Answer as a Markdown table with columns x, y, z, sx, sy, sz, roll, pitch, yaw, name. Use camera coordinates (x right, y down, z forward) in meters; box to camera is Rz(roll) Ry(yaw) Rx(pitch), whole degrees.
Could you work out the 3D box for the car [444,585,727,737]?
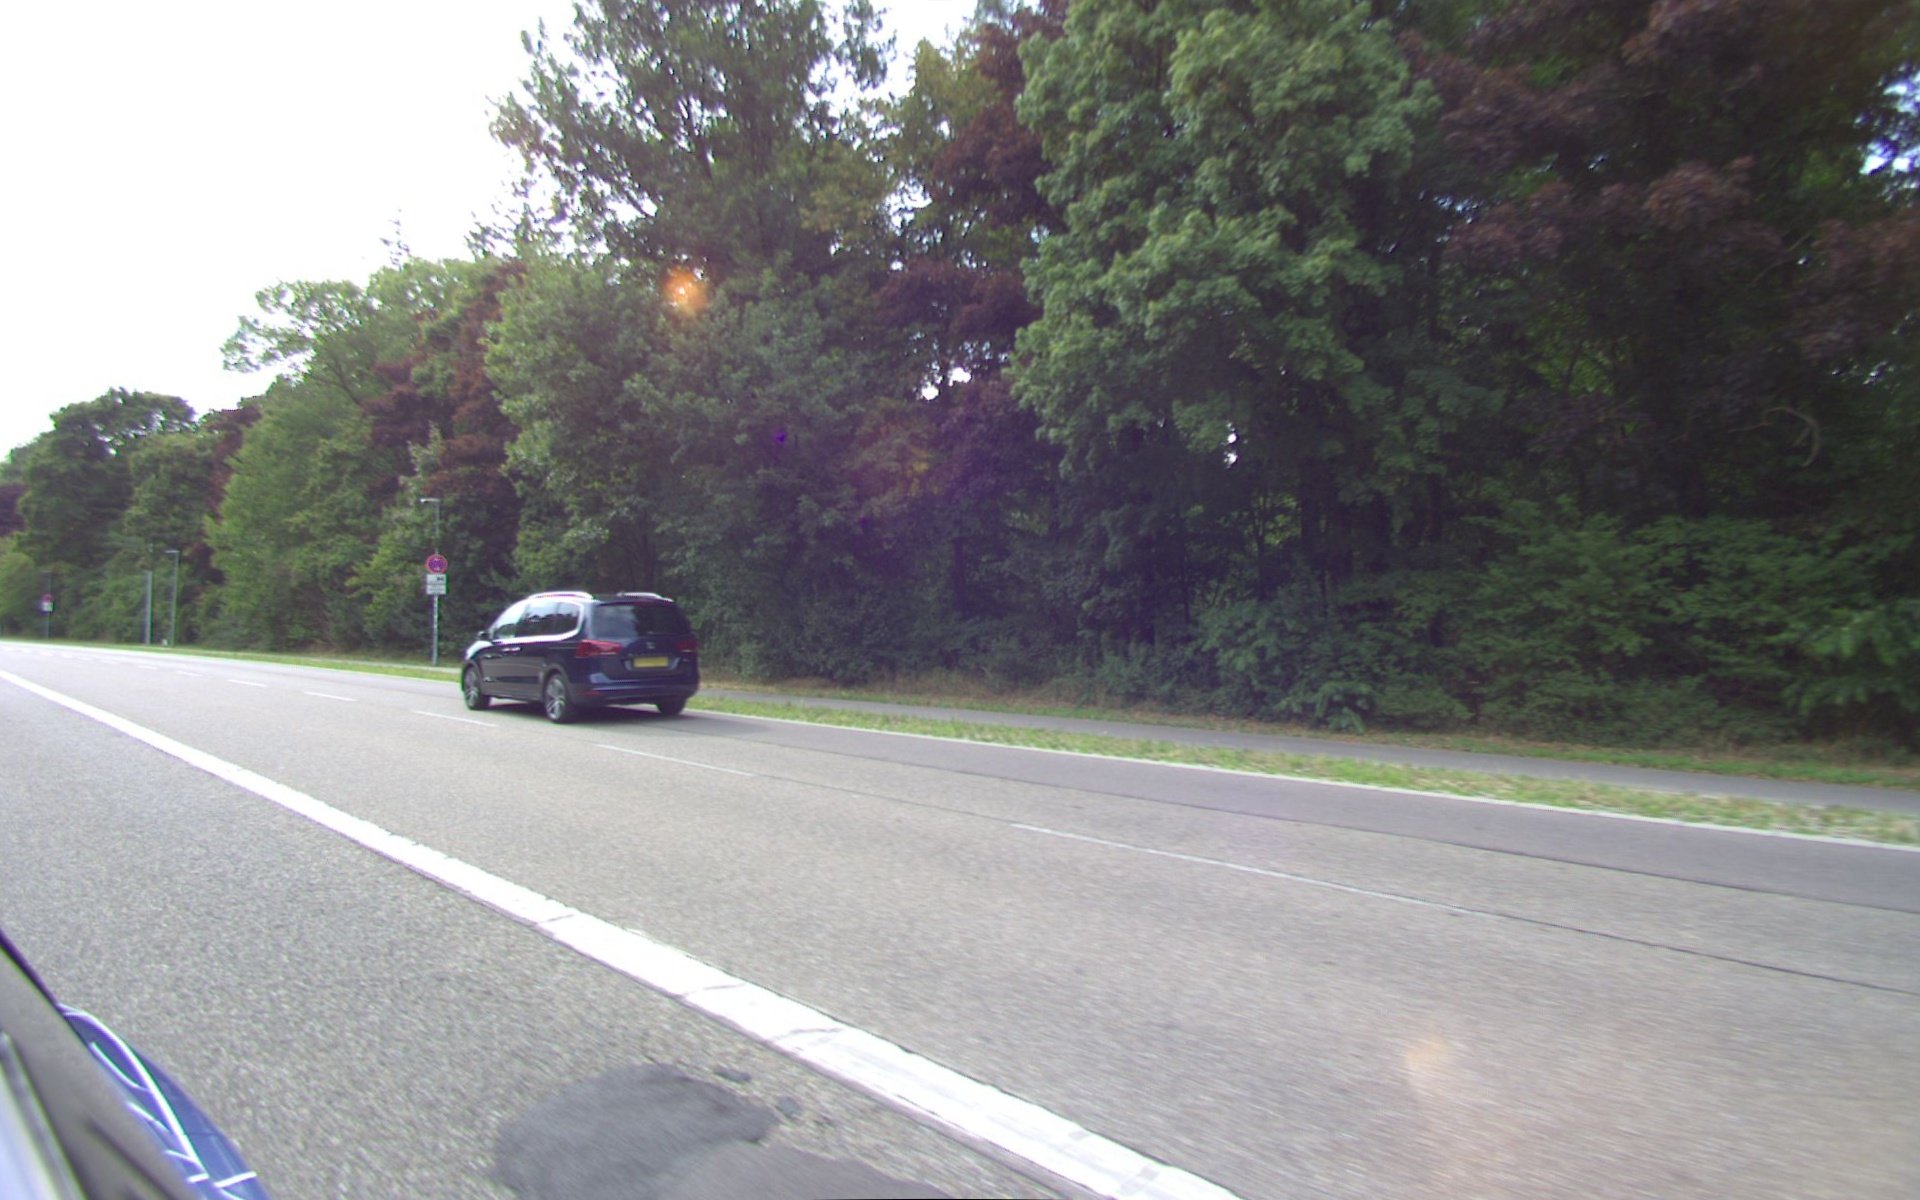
| x | y | z | sx | sy | sz | roll | pitch | yaw | name |
| --- | --- | --- | --- | --- | --- | --- | --- | --- | --- |
| -5.535 | 0.736 | 14.584 | 4.750 | 1.804 | 1.971 | 0 | 1 | 45 | car |
